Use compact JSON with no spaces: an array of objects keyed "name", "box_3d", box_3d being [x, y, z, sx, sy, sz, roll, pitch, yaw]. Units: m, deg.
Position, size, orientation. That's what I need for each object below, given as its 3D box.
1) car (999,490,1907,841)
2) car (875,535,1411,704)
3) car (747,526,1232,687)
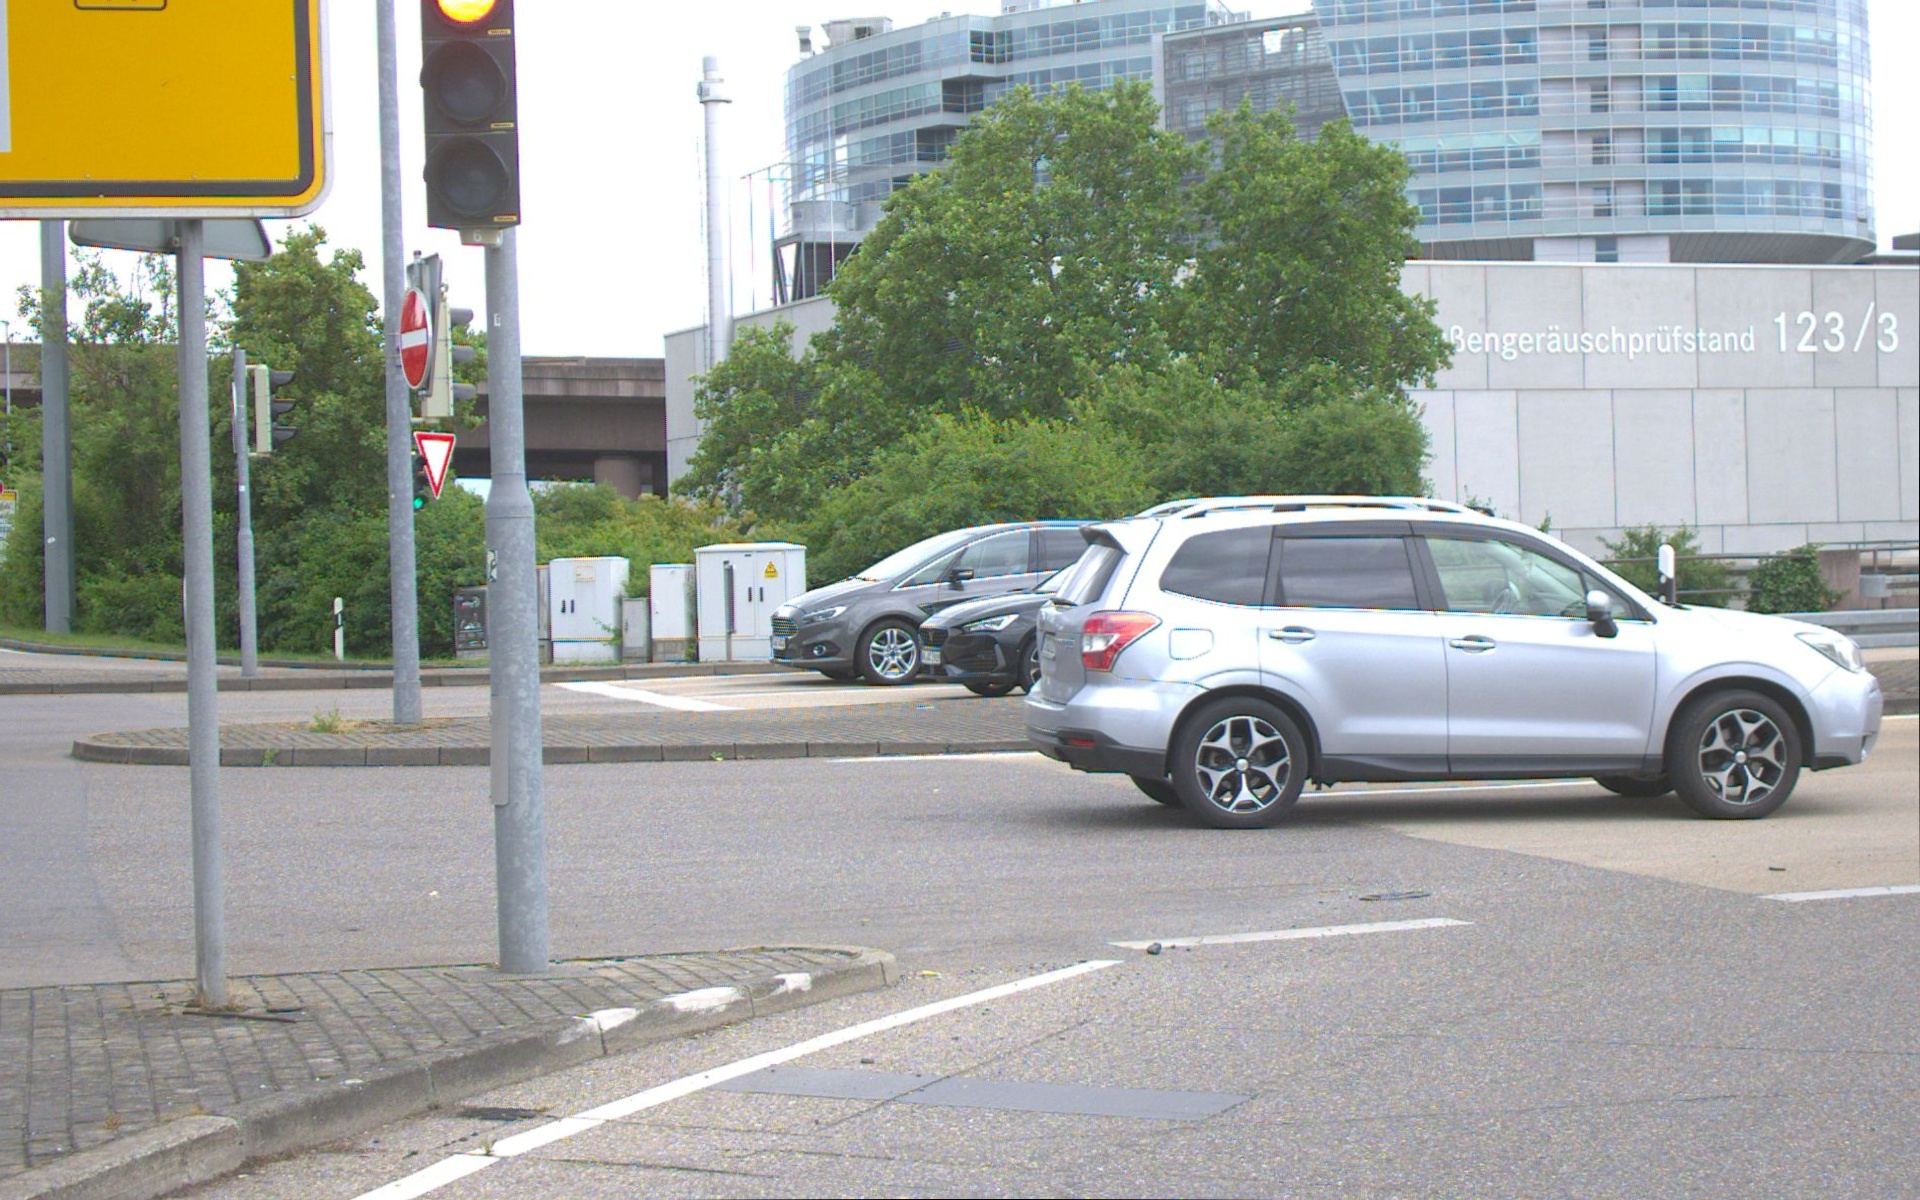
[{"name":"car","box_3d":[2.566,0.306,18.476,4.540,1.731,1.730,-1,1,-5]},{"name":"car","box_3d":[1.702,0.141,32.121,4.604,1.452,1.956,-1,2,-22]},{"name":"car","box_3d":[0.293,0.032,35.887,4.677,1.566,1.956,0,2,-19]}]
